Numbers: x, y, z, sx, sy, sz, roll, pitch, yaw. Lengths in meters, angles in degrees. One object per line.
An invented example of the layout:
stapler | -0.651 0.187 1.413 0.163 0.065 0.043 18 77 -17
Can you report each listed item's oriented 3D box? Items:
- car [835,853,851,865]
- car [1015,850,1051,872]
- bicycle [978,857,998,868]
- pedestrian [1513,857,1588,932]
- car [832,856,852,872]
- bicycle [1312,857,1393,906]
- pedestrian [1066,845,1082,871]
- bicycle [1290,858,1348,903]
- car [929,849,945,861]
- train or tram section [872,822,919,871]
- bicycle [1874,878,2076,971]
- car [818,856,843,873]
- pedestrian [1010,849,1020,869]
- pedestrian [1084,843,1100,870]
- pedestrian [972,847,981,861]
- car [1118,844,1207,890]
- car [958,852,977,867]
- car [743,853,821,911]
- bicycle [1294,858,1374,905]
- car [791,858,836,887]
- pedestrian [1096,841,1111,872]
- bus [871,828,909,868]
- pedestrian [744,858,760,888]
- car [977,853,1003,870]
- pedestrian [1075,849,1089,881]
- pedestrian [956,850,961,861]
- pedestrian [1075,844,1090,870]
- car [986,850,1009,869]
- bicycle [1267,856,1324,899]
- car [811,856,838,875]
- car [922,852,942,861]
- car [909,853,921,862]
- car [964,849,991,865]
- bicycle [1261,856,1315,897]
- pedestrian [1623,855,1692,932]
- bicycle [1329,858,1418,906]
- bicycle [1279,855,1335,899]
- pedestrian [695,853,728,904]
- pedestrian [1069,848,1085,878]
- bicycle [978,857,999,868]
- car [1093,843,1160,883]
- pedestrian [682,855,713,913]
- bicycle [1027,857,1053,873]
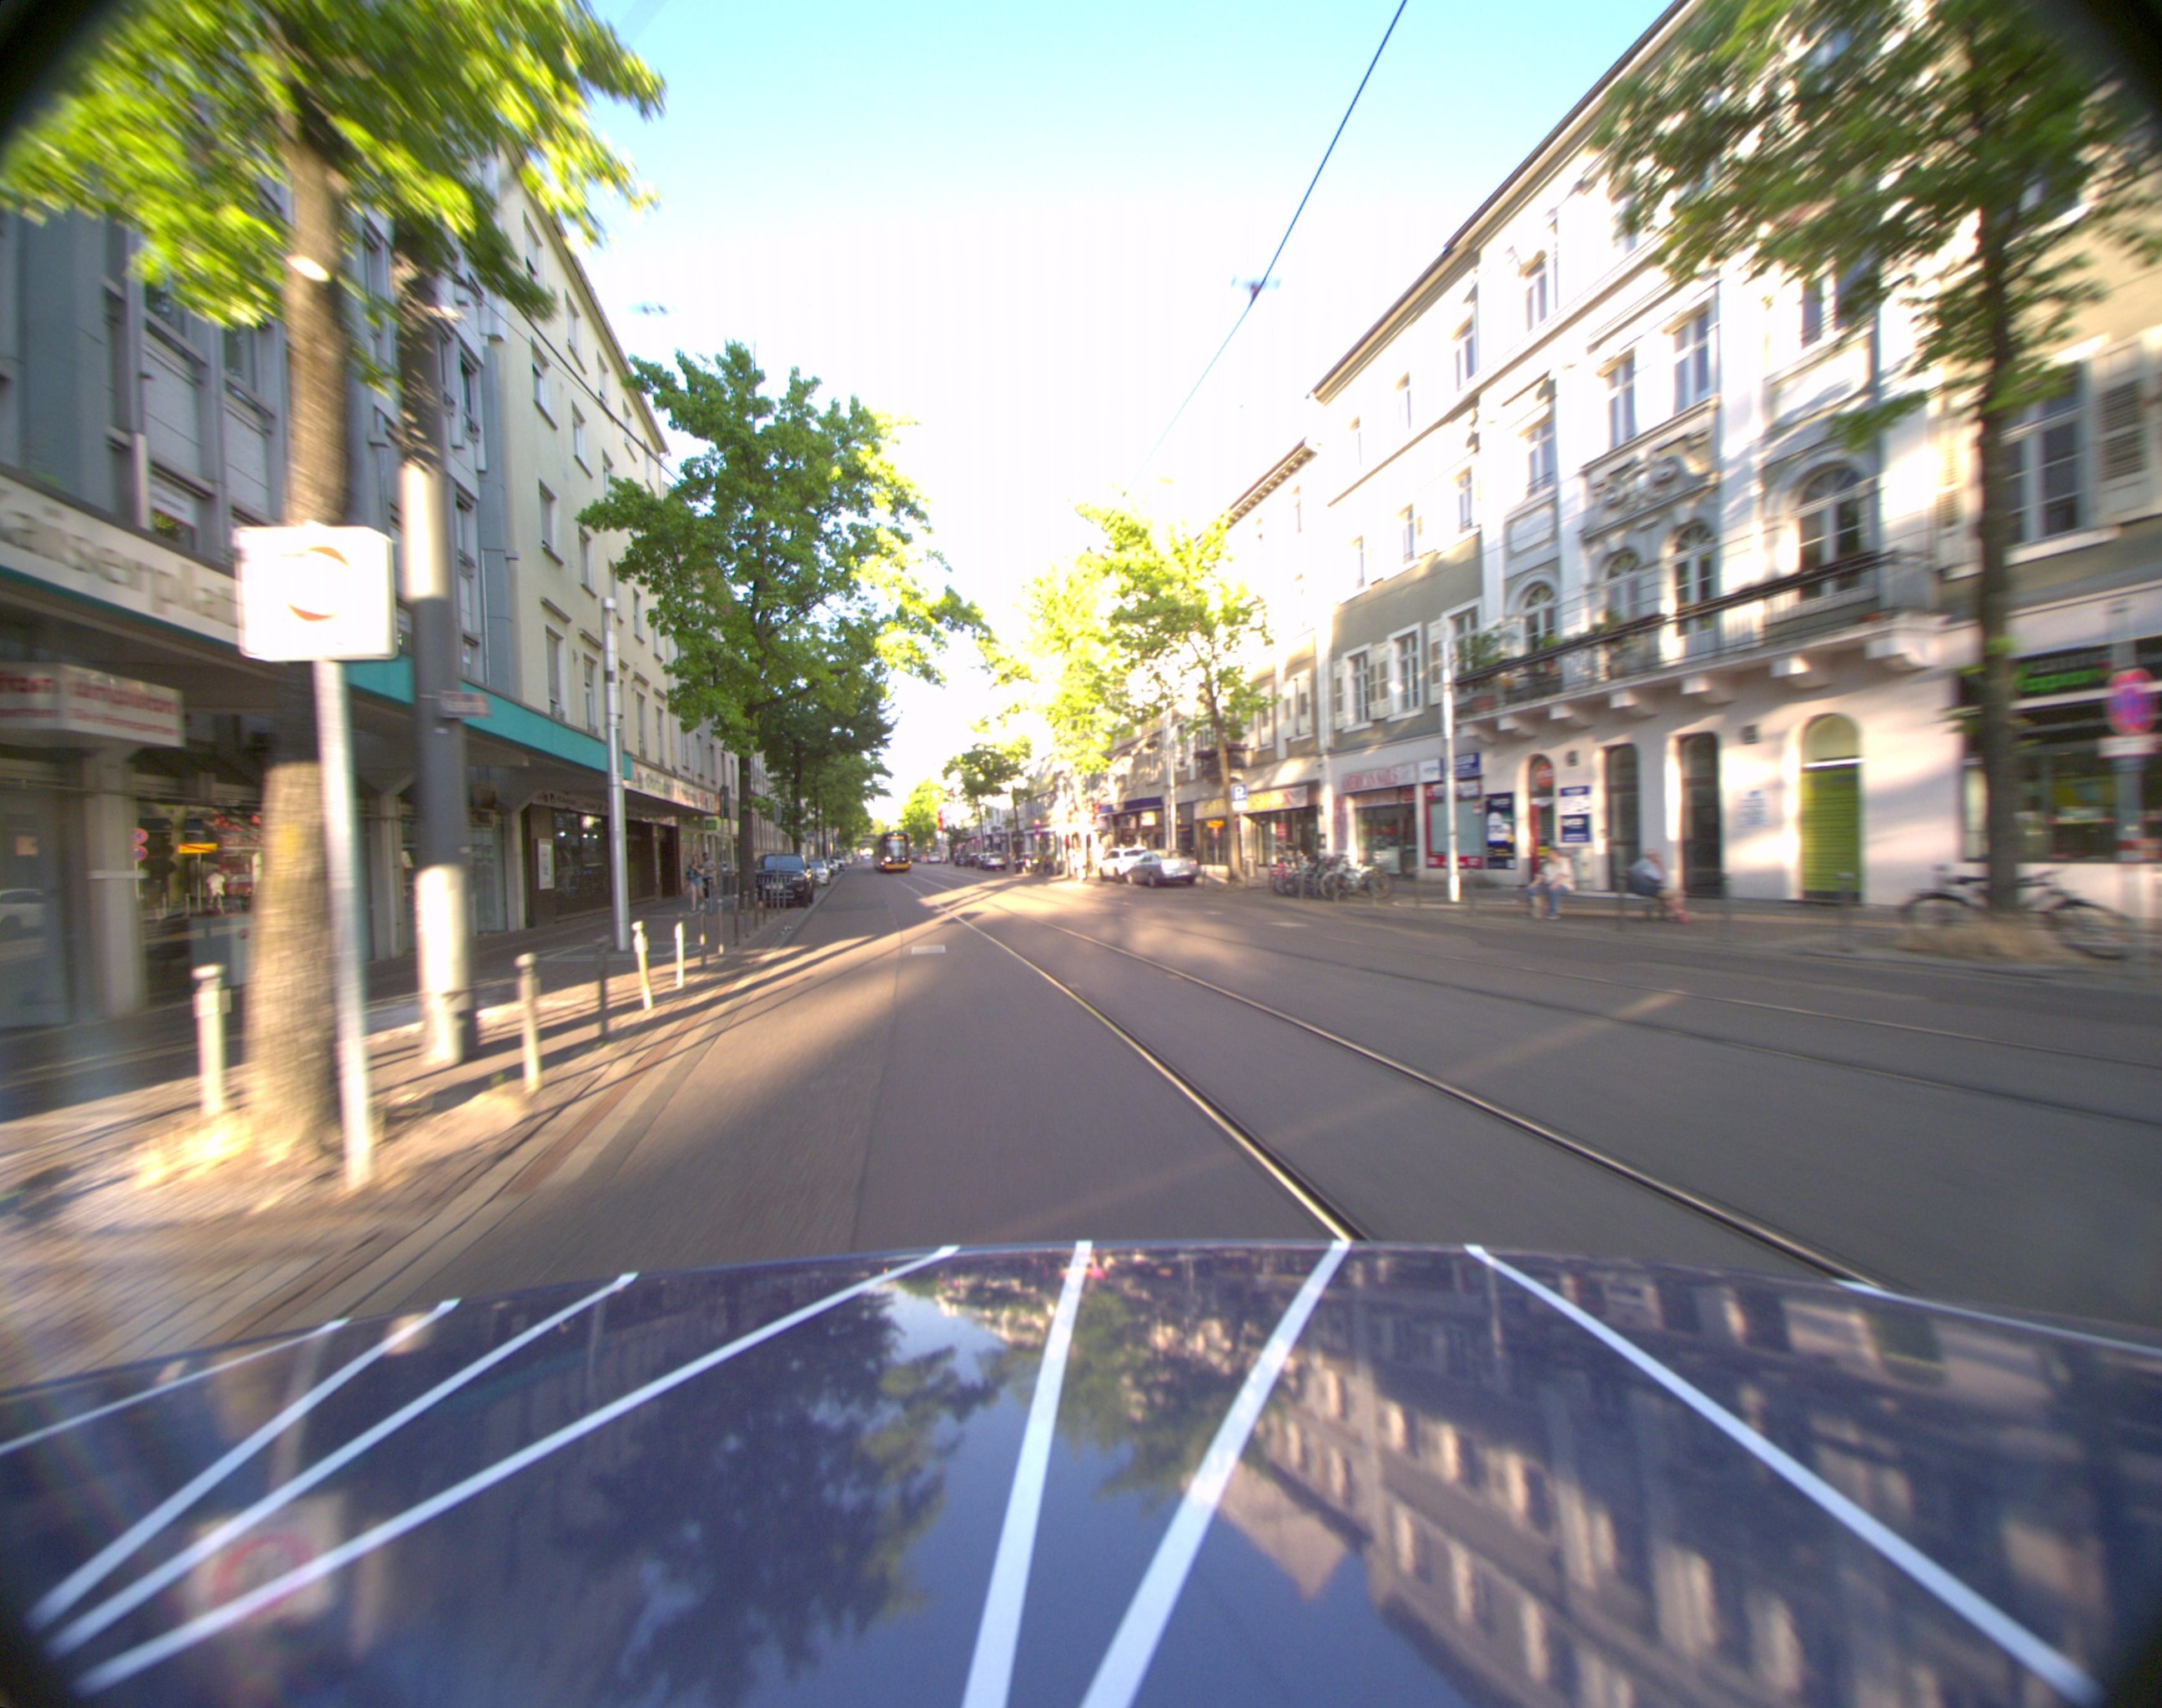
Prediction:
car | -36.057 0.798 115.264 1.959 1.782 4.310 0 0 -13
car | -3.512 0.478 54.651 1.672 1.420 3.822 -5 1 -16
bicycle | -9.344 0.855 76.362 1.978 0.995 0.330 -2 1 -13
pedestrian | 8.509 0.709 13.800 0.731 1.283 0.855 -3 1 -18
car | -26.934 1.078 85.410 2.006 1.678 4.959 0 0 -19
bicycle | 7.131 0.707 19.945 2.031 1.098 0.500 -4 2 -13
pedestrian | -0.472 0.255 50.767 0.847 1.683 0.739 -2 1 -17
bicycle | 6.711 0.715 21.347 2.033 1.098 0.499 -5 3 -41
car | -23.386 0.222 123.503 2.001 1.744 4.738 -4 1 -16
train or tram section | -17.239 -0.567 69.677 3.612 3.974 15.694 -2 0 -16
bicycle | 10.251 0.770 8.789 0.338 0.940 1.508 -2 0 -15
car | -22.318 0.900 67.824 1.920 1.412 4.881 1 0 -15
pedestrian | -6.226 0.435 71.675 0.662 1.815 0.877 -5 2 -16
pedestrian | 0.726 0.194 50.502 0.724 1.750 1.088 -2 1 -16
pedestrian | -13.182 -0.029 95.679 0.854 1.756 0.830 -2 1 -18
car | 3.193 0.478 30.849 1.843 1.571 4.695 -6 1 -15
car | -13.116 0.586 88.085 1.634 1.607 3.707 -4 1 -1
car | -9.925 0.871 25.570 1.946 1.749 4.673 2 -1 -16
bicycle | 6.816 0.717 20.464 2.031 1.098 0.500 -4 2 -13
car | -14.830 0.980 42.384 2.001 1.489 4.673 1 -1 -15
pedestrian | 1.499 0.172 50.542 0.724 2.002 0.642 -2 1 -16
bus | -21.749 -0.505 85.665 3.621 3.974 17.459 -2 0 -16
pedestrian | -17.934 1.027 41.448 0.660 1.655 0.887 1 0 -17
car | -8.545 0.672 70.918 1.718 1.452 4.480 -4 1 -16
pedestrian | 0.036 0.532 37.790 0.523 1.560 0.633 -2 2 -15
pedestrian | -19.108 0.227 118.262 0.644 1.703 0.828 -3 1 -12
pedestrian | 0.101 0.203 51.638 0.792 1.683 0.912 -2 1 -17
car | -7.130 0.406 64.623 1.773 1.488 4.171 -2 1 -9
bicycle | 6.385 0.681 22.527 2.118 1.098 0.499 -5 3 -41
car | -20.187 0.889 59.948 1.840 1.469 4.754 0 0 -17
car | -29.428 0.542 150.201 3.405 1.552 1.785 -6 3 -38
car | -32.679 0.675 149.596 1.892 1.602 4.194 0 0 -16
car | -10.959 0.321 80.463 1.799 1.482 4.234 -4 1 -22
bicycle | 6.384 0.668 23.368 1.955 1.098 0.566 -5 3 -41
pedestrian | 9.356 0.623 12.337 0.593 1.187 0.641 -3 1 -18
bicycle | 7.322 0.701 19.095 2.026 1.098 0.501 -3 2 19
bicycle | 6.540 0.651 21.921 2.033 1.098 0.499 -5 3 -41
pedestrian | -13.010 0.843 26.743 0.861 1.743 0.931 1 0 -16
pedestrian | -0.187 0.446 38.491 0.622 1.501 0.728 -2 2 -15
bicycle | -9.058 0.872 74.686 1.978 0.995 0.330 -2 1 -13
car | 2.069 0.396 35.848 1.843 1.571 4.110 -6 2 -15
pedestrian | -11.312 0.870 22.427 0.646 1.660 0.785 1 0 -16
bicycle | -2.734 0.755 50.747 1.621 0.960 0.432 -4 1 -10
